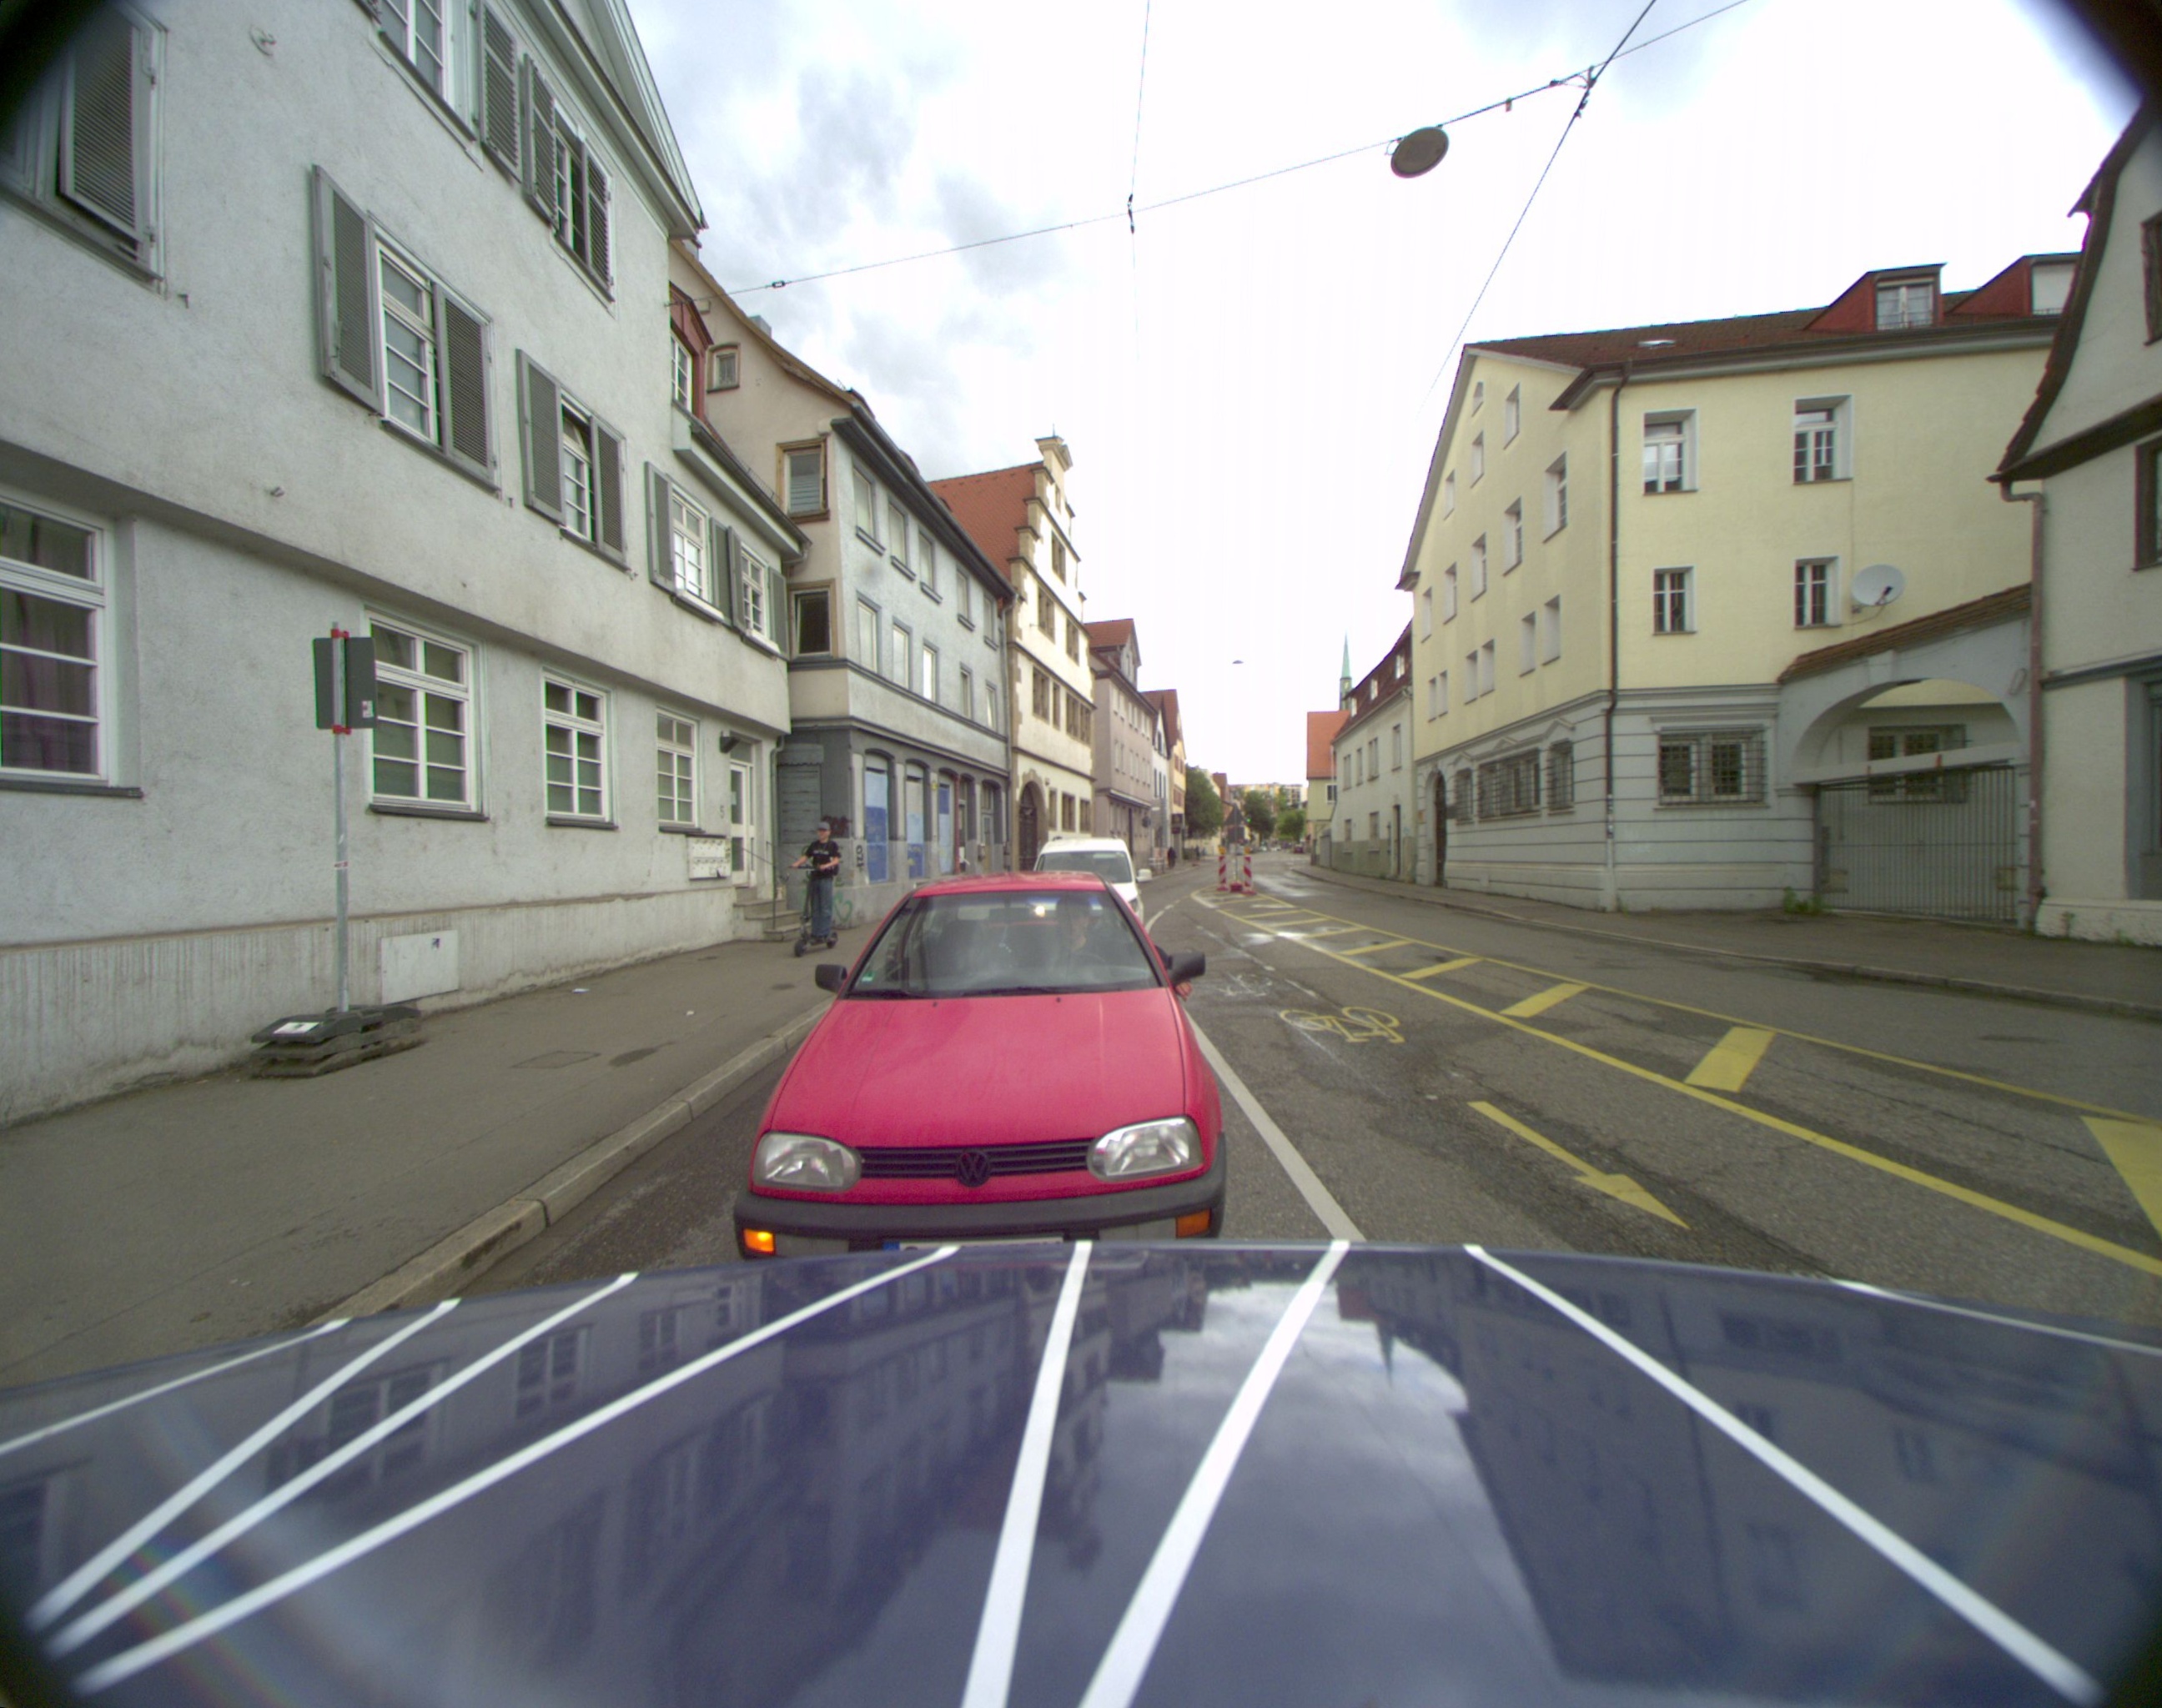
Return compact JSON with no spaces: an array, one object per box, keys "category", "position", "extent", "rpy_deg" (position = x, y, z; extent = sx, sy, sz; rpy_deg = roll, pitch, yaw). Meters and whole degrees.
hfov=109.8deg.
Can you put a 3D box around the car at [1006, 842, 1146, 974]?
[{"category":"car","position":[0.020,0.692,12.166],"extent":[1.814,1.695,4.256],"rpy_deg":[-1,1,2]}]

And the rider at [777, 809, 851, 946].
[{"category":"rider","position":[-3.716,0.323,10.629],"extent":[0.719,1.837,0.797],"rpy_deg":[-1,1,1]}]

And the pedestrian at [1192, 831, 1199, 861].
[{"category":"pedestrian","position":[9.604,-0.639,63.638],"extent":[0.495,2.513,0.746],"rpy_deg":[-1,1,12]}]

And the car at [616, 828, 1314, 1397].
[{"category":"car","position":[-0.290,0.770,3.976],"extent":[1.792,1.416,4.002],"rpy_deg":[-2,-3,1]}]

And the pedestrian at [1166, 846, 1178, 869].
[{"category":"pedestrian","position":[6.377,0.234,53.370],"extent":[0.725,1.604,0.649],"rpy_deg":[-1,0,14]}]
